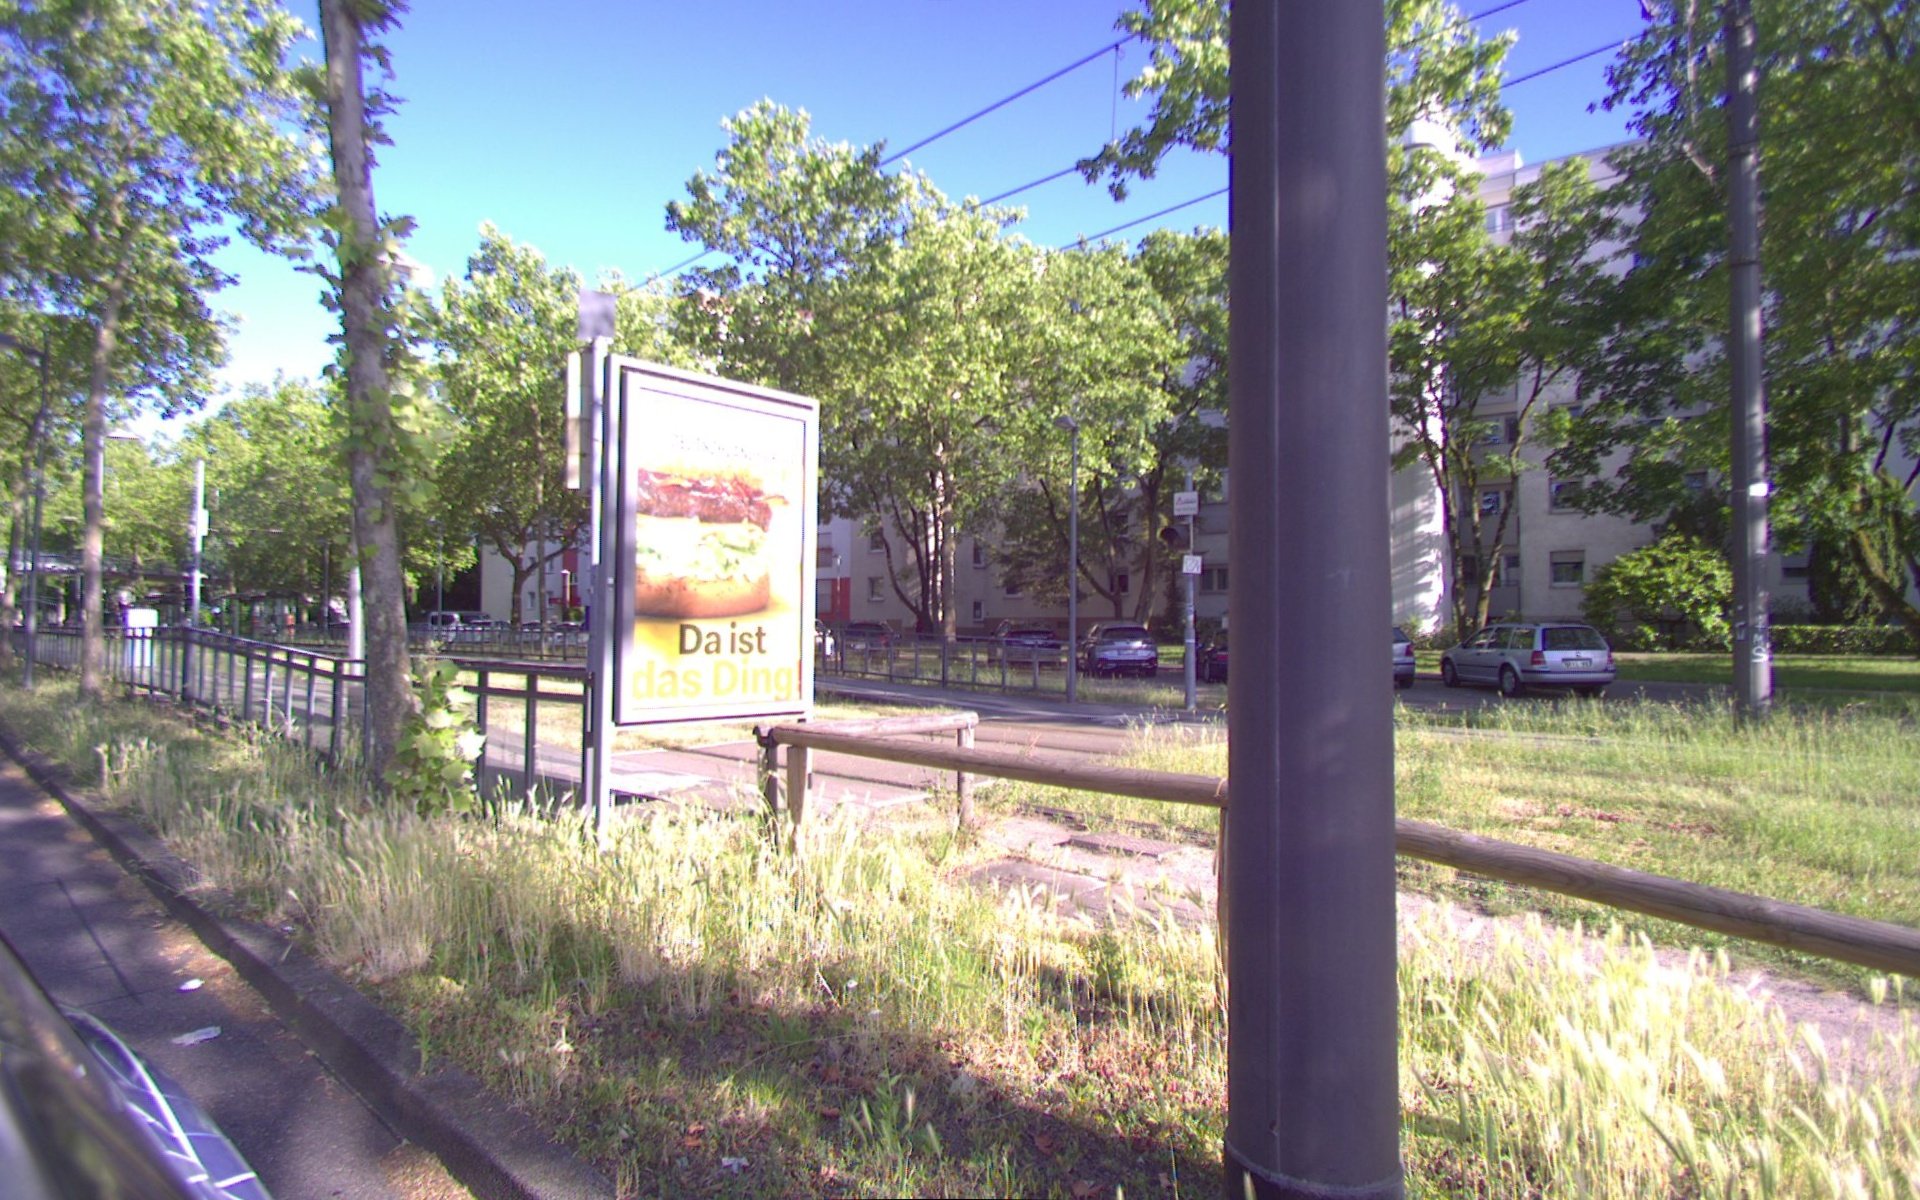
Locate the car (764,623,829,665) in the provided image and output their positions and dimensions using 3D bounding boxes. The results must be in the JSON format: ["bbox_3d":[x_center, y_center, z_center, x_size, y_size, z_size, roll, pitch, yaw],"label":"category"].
[{"bbox_3d":[-5.906,1.569,36.917,1.664,1.444,3.679,0,-1,2],"label":"car"}]

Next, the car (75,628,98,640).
[{"bbox_3d":[-109.044,4.223,126.335,3.294,1.370,1.651,-1,-2,41],"label":"car"}]

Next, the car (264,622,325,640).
[{"bbox_3d":[-52.143,2.400,79.364,1.898,1.386,4.365,0,-1,1],"label":"car"}]

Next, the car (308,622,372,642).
[{"bbox_3d":[-44.641,2.278,72.983,1.898,1.386,4.365,0,-1,1],"label":"car"}]

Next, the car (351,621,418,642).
[{"bbox_3d":[-37.800,2.053,66.629,1.898,1.386,4.365,0,-1,1],"label":"car"}]

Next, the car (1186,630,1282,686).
[{"bbox_3d":[6.733,1.398,25.206,1.602,1.256,3.677,0,-1,4],"label":"car"}]

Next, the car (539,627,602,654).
[{"bbox_3d":[-19.043,1.977,49.666,1.627,1.251,3.680,0,-1,1],"label":"car"}]

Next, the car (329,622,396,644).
[{"bbox_3d":[-40.280,2.201,68.391,1.898,1.386,4.365,0,-1,1],"label":"car"}]

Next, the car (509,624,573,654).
[{"bbox_3d":[-21.120,1.956,51.133,1.627,1.460,3.680,0,-1,1],"label":"car"}]

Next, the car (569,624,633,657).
[{"bbox_3d":[-16.679,1.840,47.136,1.627,1.460,3.680,0,-1,1],"label":"car"}]

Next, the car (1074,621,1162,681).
[{"bbox_3d":[4.210,1.344,27.492,1.894,1.507,3.680,0,-1,2],"label":"car"}]

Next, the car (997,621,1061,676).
[{"bbox_3d":[1.937,1.365,29.446,1.664,1.482,3.680,0,-1,1],"label":"car"}]

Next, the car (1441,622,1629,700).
[{"bbox_3d":[11.551,1.174,20.628,1.707,1.444,3.681,0,-1,1],"label":"car"}]

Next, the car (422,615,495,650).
[{"bbox_3d":[-28.324,1.823,57.327,1.898,1.898,4.365,0,-1,1],"label":"car"}]

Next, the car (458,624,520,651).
[{"bbox_3d":[-25.795,2.032,55.518,1.627,1.407,3.680,0,-1,1],"label":"car"}]

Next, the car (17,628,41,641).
[{"bbox_3d":[-119.504,4.401,129.920,4.366,1.586,1.898,-1,-2,42],"label":"car"}]

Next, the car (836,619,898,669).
[{"bbox_3d":[-3.104,1.456,34.468,1.664,1.579,3.679,0,-1,2],"label":"car"}]

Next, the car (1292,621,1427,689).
[{"bbox_3d":[9.157,1.217,23.527,1.679,1.444,3.681,0,-1,1],"label":"car"}]

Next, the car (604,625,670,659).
[{"bbox_3d":[-14.080,1.816,44.280,1.627,1.403,3.679,0,-1,2],"label":"car"}]
